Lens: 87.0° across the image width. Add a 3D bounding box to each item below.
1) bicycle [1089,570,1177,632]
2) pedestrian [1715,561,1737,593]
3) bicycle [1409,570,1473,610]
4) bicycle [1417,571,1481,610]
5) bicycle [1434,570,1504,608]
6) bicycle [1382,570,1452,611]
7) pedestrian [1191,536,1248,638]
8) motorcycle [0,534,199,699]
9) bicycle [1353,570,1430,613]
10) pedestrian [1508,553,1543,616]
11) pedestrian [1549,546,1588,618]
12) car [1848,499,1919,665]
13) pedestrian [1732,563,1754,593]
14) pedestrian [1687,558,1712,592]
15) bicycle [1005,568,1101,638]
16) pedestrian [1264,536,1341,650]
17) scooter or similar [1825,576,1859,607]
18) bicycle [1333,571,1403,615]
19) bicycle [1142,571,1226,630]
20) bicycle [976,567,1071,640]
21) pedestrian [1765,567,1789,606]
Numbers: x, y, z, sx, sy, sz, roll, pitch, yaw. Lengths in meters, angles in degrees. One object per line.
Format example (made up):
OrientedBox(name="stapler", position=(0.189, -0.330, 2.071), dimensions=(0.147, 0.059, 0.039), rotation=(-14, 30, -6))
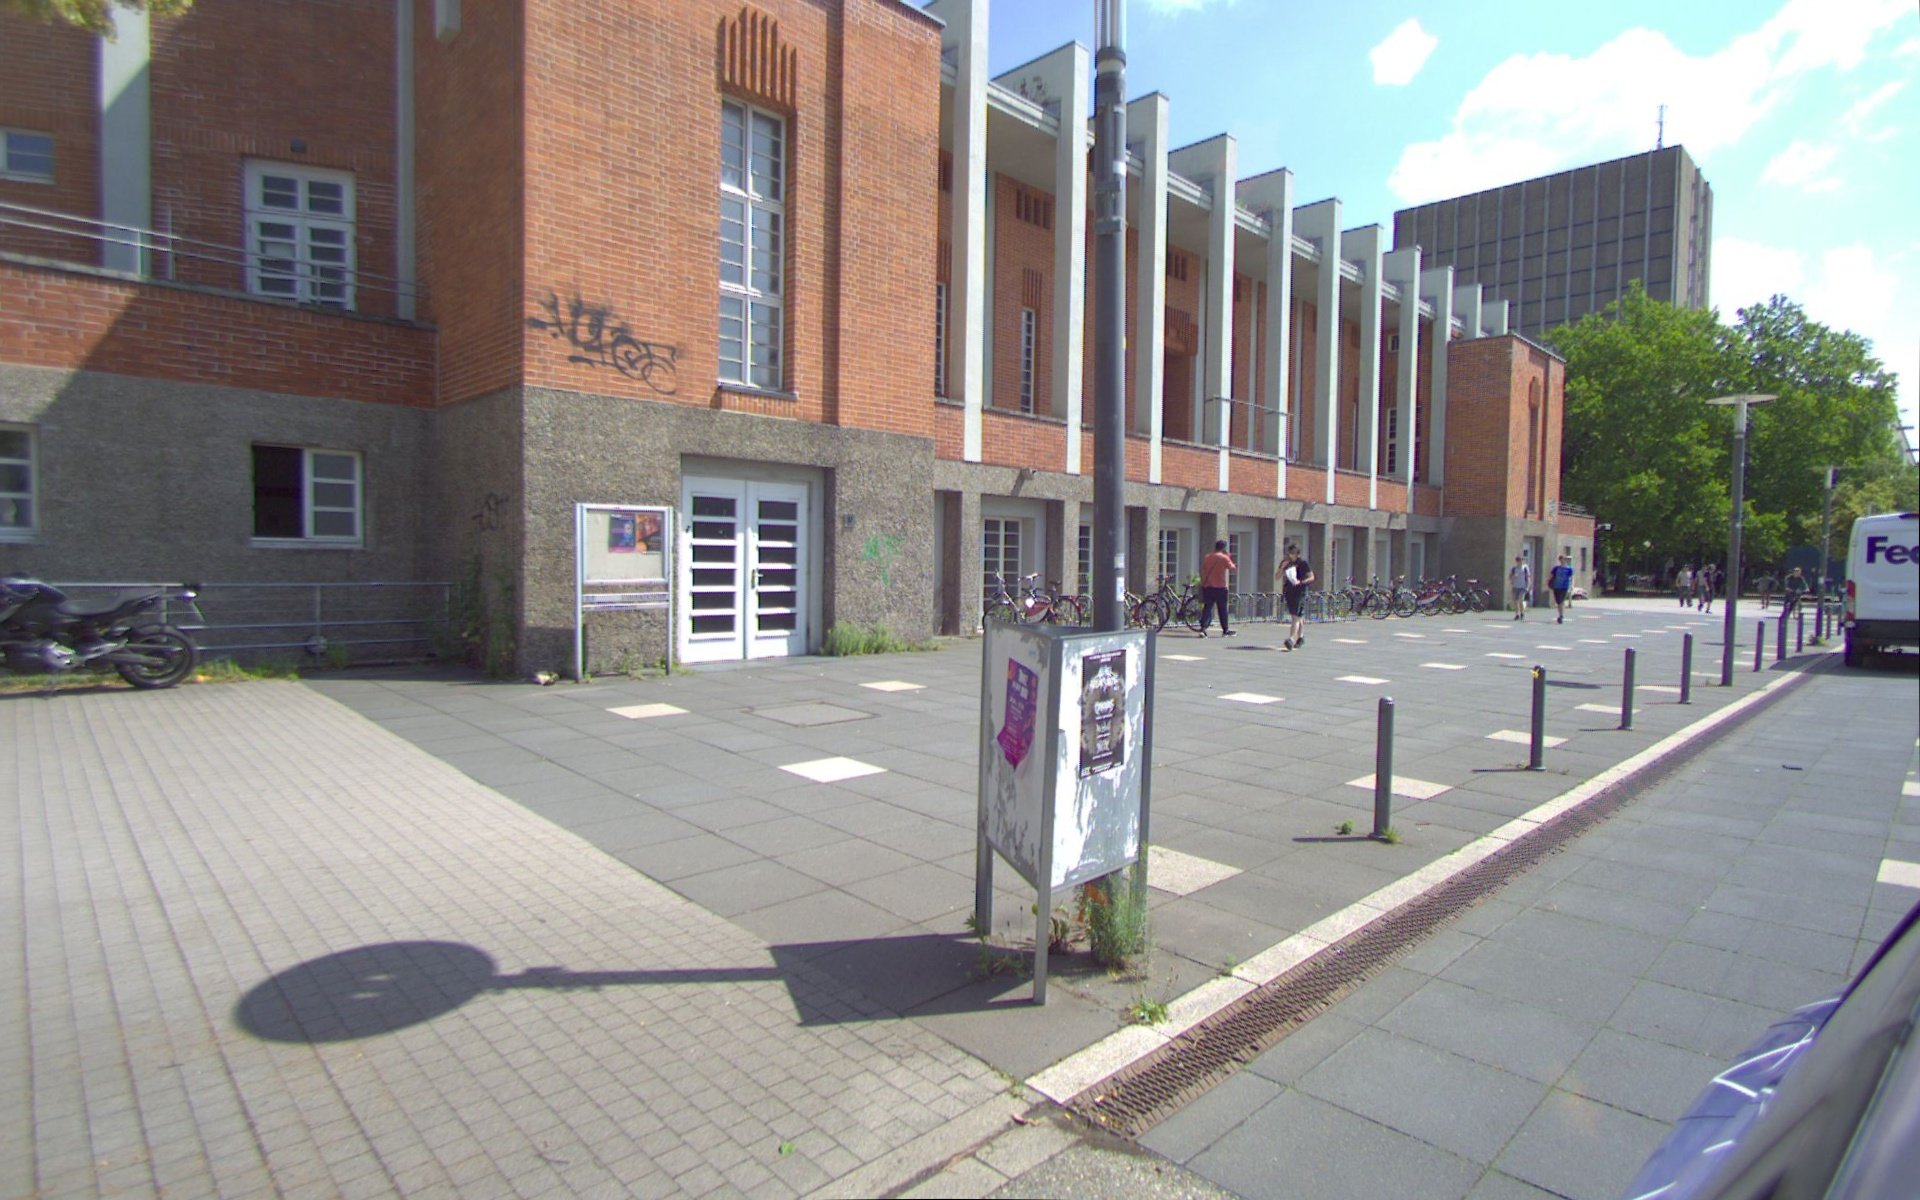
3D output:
OrientedBox(name="bicycle", position=(3.331, -0.008, 19.627), dimensions=(1.748, 1.123, 0.429), rotation=(3, 3, 45))
OrientedBox(name="pedestrian", position=(44.306, -1.327, 58.547), dimensions=(0.773, 1.813, 0.709), rotation=(2, 2, 25))
OrientedBox(name="bicycle", position=(14.478, -0.316, 30.486), dimensions=(1.651, 1.123, 0.429), rotation=(3, 3, 45))
OrientedBox(name="bicycle", position=(14.954, -0.303, 30.980), dimensions=(1.695, 1.123, 0.429), rotation=(3, 3, 45))
OrientedBox(name="bicycle", position=(16.209, -0.364, 32.238), dimensions=(1.931, 1.123, 0.449), rotation=(3, 3, 45))
OrientedBox(name="bicycle", position=(13.280, -0.292, 29.423), dimensions=(1.798, 1.123, 0.429), rotation=(3, 3, 45))
OrientedBox(name="pedestrian", position=(4.862, -0.264, 18.959), dimensions=(0.663, 1.857, 0.892), rotation=(2, 2, 43))
OrientedBox(name="motorcycle", position=(-7.882, 0.120, 8.615), dimensions=(2.182, 1.339, 0.697), rotation=(-1, 3, -42))
OrientedBox(name="bicycle", position=(11.998, -0.244, 28.184), dimensions=(1.912, 1.123, 0.429), rotation=(3, 3, 45))
OrientedBox(name="pedestrian", position=(15.815, -0.444, 28.306), dimensions=(0.585, 1.727, 0.986), rotation=(3, 4, 44))
OrientedBox(name="pedestrian", position=(16.696, -0.506, 27.762), dimensions=(0.664, 1.913, 1.093), rotation=(3, 4, 43))
OrientedBox(name="car", position=(17.087, -0.332, 17.703), dimensions=(2.059, 2.574, 5.758), rotation=(2, 3, 43))
OrientedBox(name="pedestrian", position=(45.053, -1.271, 58.257), dimensions=(0.743, 1.693, 0.839), rotation=(2, 2, 23))
OrientedBox(name="pedestrian", position=(43.355, -1.454, 59.342), dimensions=(0.972, 1.970, 0.971), rotation=(0, 1, 23))
OrientedBox(name="bicycle", position=(1.626, 0.025, 17.936), dimensions=(1.754, 1.164, 0.509), rotation=(3, 3, 45))
OrientedBox(name="pedestrian", position=(5.834, -0.139, 17.230), dimensions=(0.843, 1.857, 1.180), rotation=(2, 2, 40))
OrientedBox(name="scooter or similar", position=(35.680, -0.348, 40.942), dimensions=(1.448, 1.194, 0.577), rotation=(0, 2, -31))
OrientedBox(name="bicycle", position=(10.868, -0.200, 26.982), dimensions=(1.683, 1.123, 0.429), rotation=(3, 3, 45))
OrientedBox(name="bicycle", position=(4.521, -0.007, 20.518), dimensions=(1.683, 1.123, 0.429), rotation=(3, 3, 45))
OrientedBox(name="bicycle", position=(1.051, 0.032, 17.219), dimensions=(1.754, 1.164, 0.429), rotation=(3, 3, 45))
OrientedBox(name="pedestrian", position=(36.795, -0.636, 45.584), dimensions=(0.782, 1.696, 1.064), rotation=(3, 3, 40))
